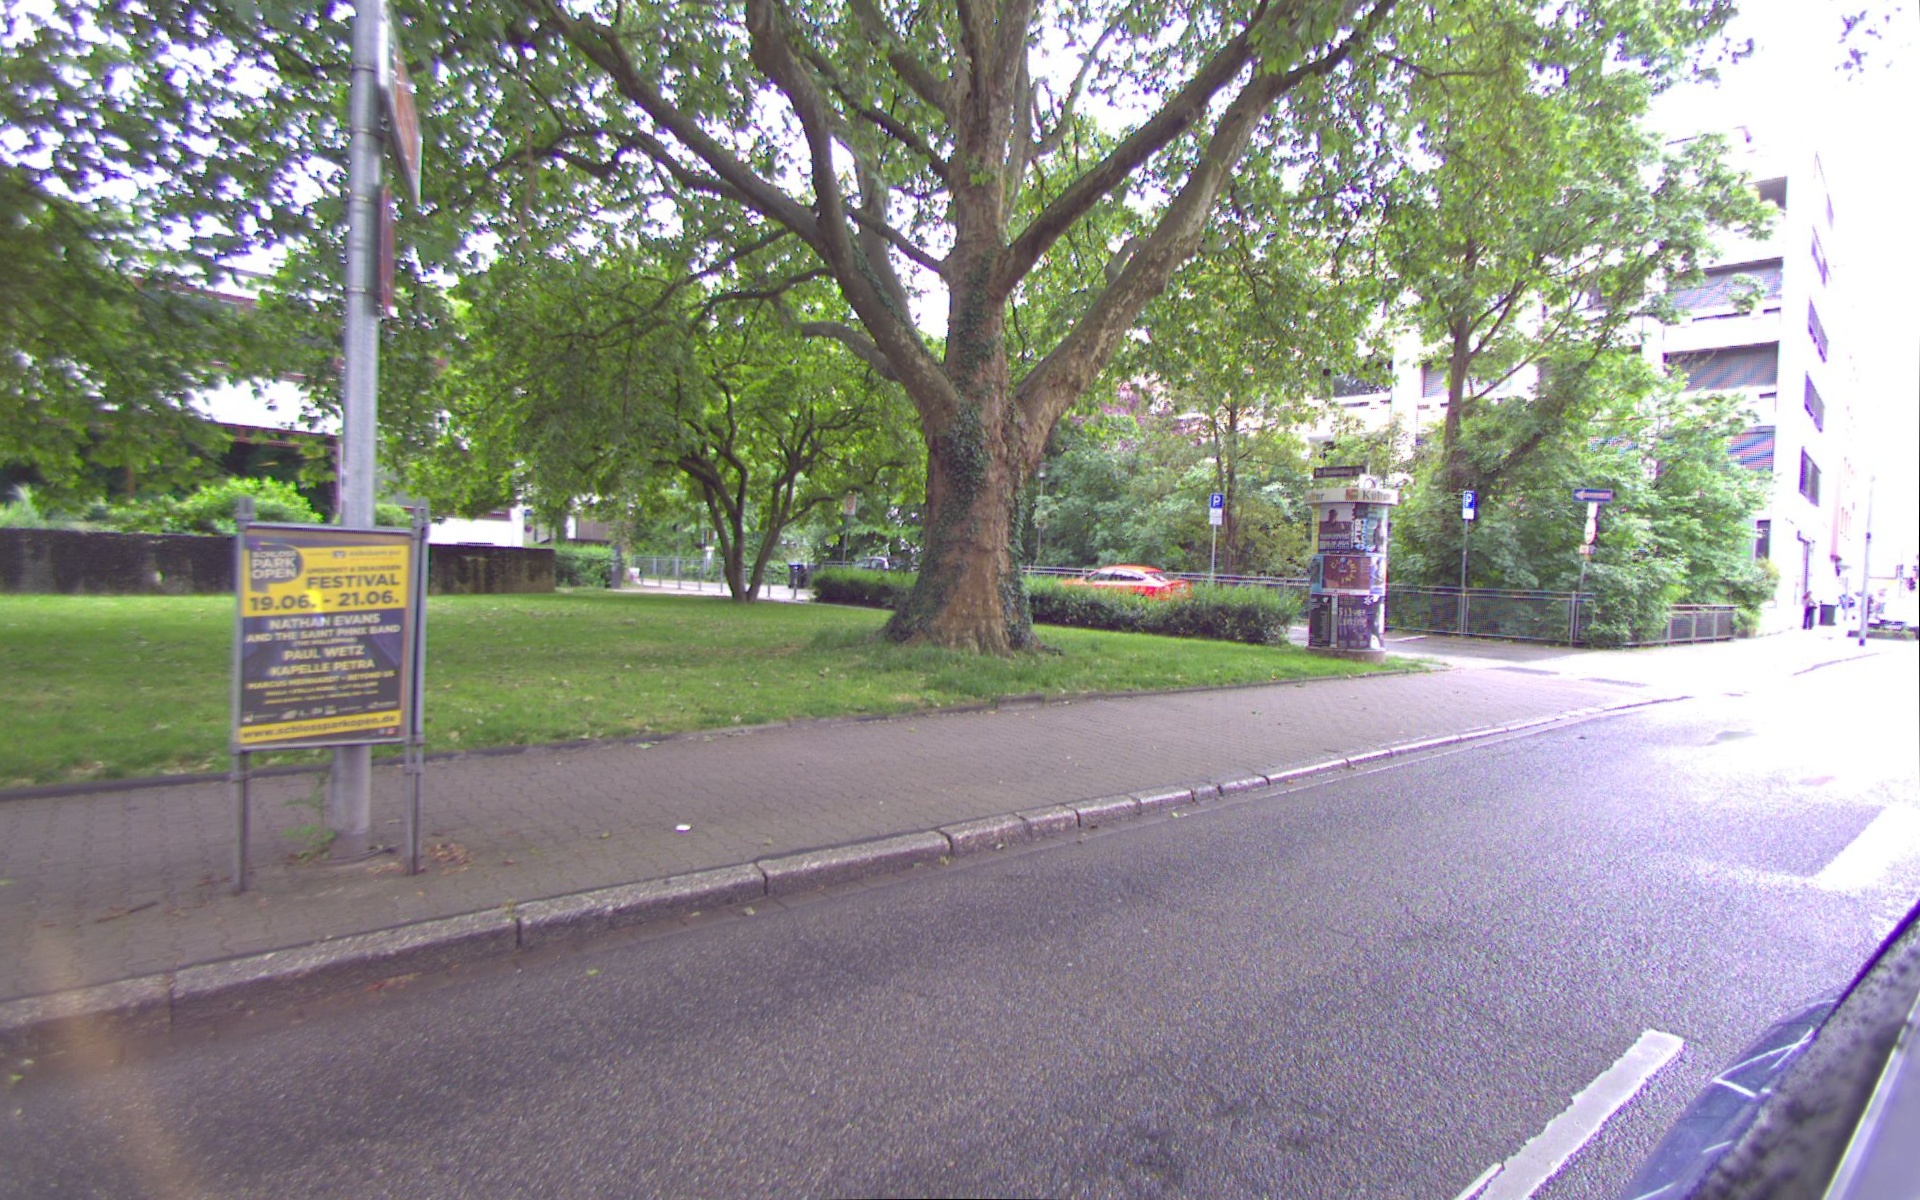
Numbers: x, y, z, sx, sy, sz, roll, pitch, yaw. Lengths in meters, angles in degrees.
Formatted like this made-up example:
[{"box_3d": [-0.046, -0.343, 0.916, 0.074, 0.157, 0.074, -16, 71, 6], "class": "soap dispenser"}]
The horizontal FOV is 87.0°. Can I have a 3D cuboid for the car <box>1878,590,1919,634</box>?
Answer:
[{"box_3d": [37.733, 0.464, 40.051, 3.741, 1.577, 1.705, 0, 4, -43], "class": "car"}]

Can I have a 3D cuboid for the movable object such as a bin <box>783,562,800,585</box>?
[{"box_3d": [-7.184, -1.125, 43.157, 0.573, 0.986, 0.512, 0, 0, -41], "class": "movable object such as a bin"}]

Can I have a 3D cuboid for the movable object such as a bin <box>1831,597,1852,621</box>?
[{"box_3d": [42.073, 0.427, 48.323, 0.505, 1.117, 0.680, 0, 2, -42], "class": "movable object such as a bin"}]

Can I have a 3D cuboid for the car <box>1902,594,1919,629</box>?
[{"box_3d": [42.626, 0.543, 44.160, 4.493, 1.437, 1.834, 0, 3, -43], "class": "car"}]

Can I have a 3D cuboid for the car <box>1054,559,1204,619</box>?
[{"box_3d": [4.906, -0.385, 29.740, 3.989, 1.499, 1.847, 5, 5, 44], "class": "car"}]

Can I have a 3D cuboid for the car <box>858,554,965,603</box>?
[{"box_3d": [-1.824, -0.819, 37.086, 1.707, 1.590, 3.925, 0, 3, -45], "class": "car"}]

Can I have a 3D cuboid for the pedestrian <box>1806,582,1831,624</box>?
[{"box_3d": [34.998, 0.117, 41.252, 0.598, 1.679, 0.681, 7, 4, 42], "class": "pedestrian"}]

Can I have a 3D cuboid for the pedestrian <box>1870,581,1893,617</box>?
[{"box_3d": [56.678, -0.086, 62.228, 0.797, 2.179, 0.732, 2, 1, 26], "class": "pedestrian"}]

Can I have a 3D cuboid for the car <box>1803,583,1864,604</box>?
[{"box_3d": [79.756, -0.601, 92.474, 1.801, 1.732, 3.801, 1, 2, -21], "class": "car"}]
